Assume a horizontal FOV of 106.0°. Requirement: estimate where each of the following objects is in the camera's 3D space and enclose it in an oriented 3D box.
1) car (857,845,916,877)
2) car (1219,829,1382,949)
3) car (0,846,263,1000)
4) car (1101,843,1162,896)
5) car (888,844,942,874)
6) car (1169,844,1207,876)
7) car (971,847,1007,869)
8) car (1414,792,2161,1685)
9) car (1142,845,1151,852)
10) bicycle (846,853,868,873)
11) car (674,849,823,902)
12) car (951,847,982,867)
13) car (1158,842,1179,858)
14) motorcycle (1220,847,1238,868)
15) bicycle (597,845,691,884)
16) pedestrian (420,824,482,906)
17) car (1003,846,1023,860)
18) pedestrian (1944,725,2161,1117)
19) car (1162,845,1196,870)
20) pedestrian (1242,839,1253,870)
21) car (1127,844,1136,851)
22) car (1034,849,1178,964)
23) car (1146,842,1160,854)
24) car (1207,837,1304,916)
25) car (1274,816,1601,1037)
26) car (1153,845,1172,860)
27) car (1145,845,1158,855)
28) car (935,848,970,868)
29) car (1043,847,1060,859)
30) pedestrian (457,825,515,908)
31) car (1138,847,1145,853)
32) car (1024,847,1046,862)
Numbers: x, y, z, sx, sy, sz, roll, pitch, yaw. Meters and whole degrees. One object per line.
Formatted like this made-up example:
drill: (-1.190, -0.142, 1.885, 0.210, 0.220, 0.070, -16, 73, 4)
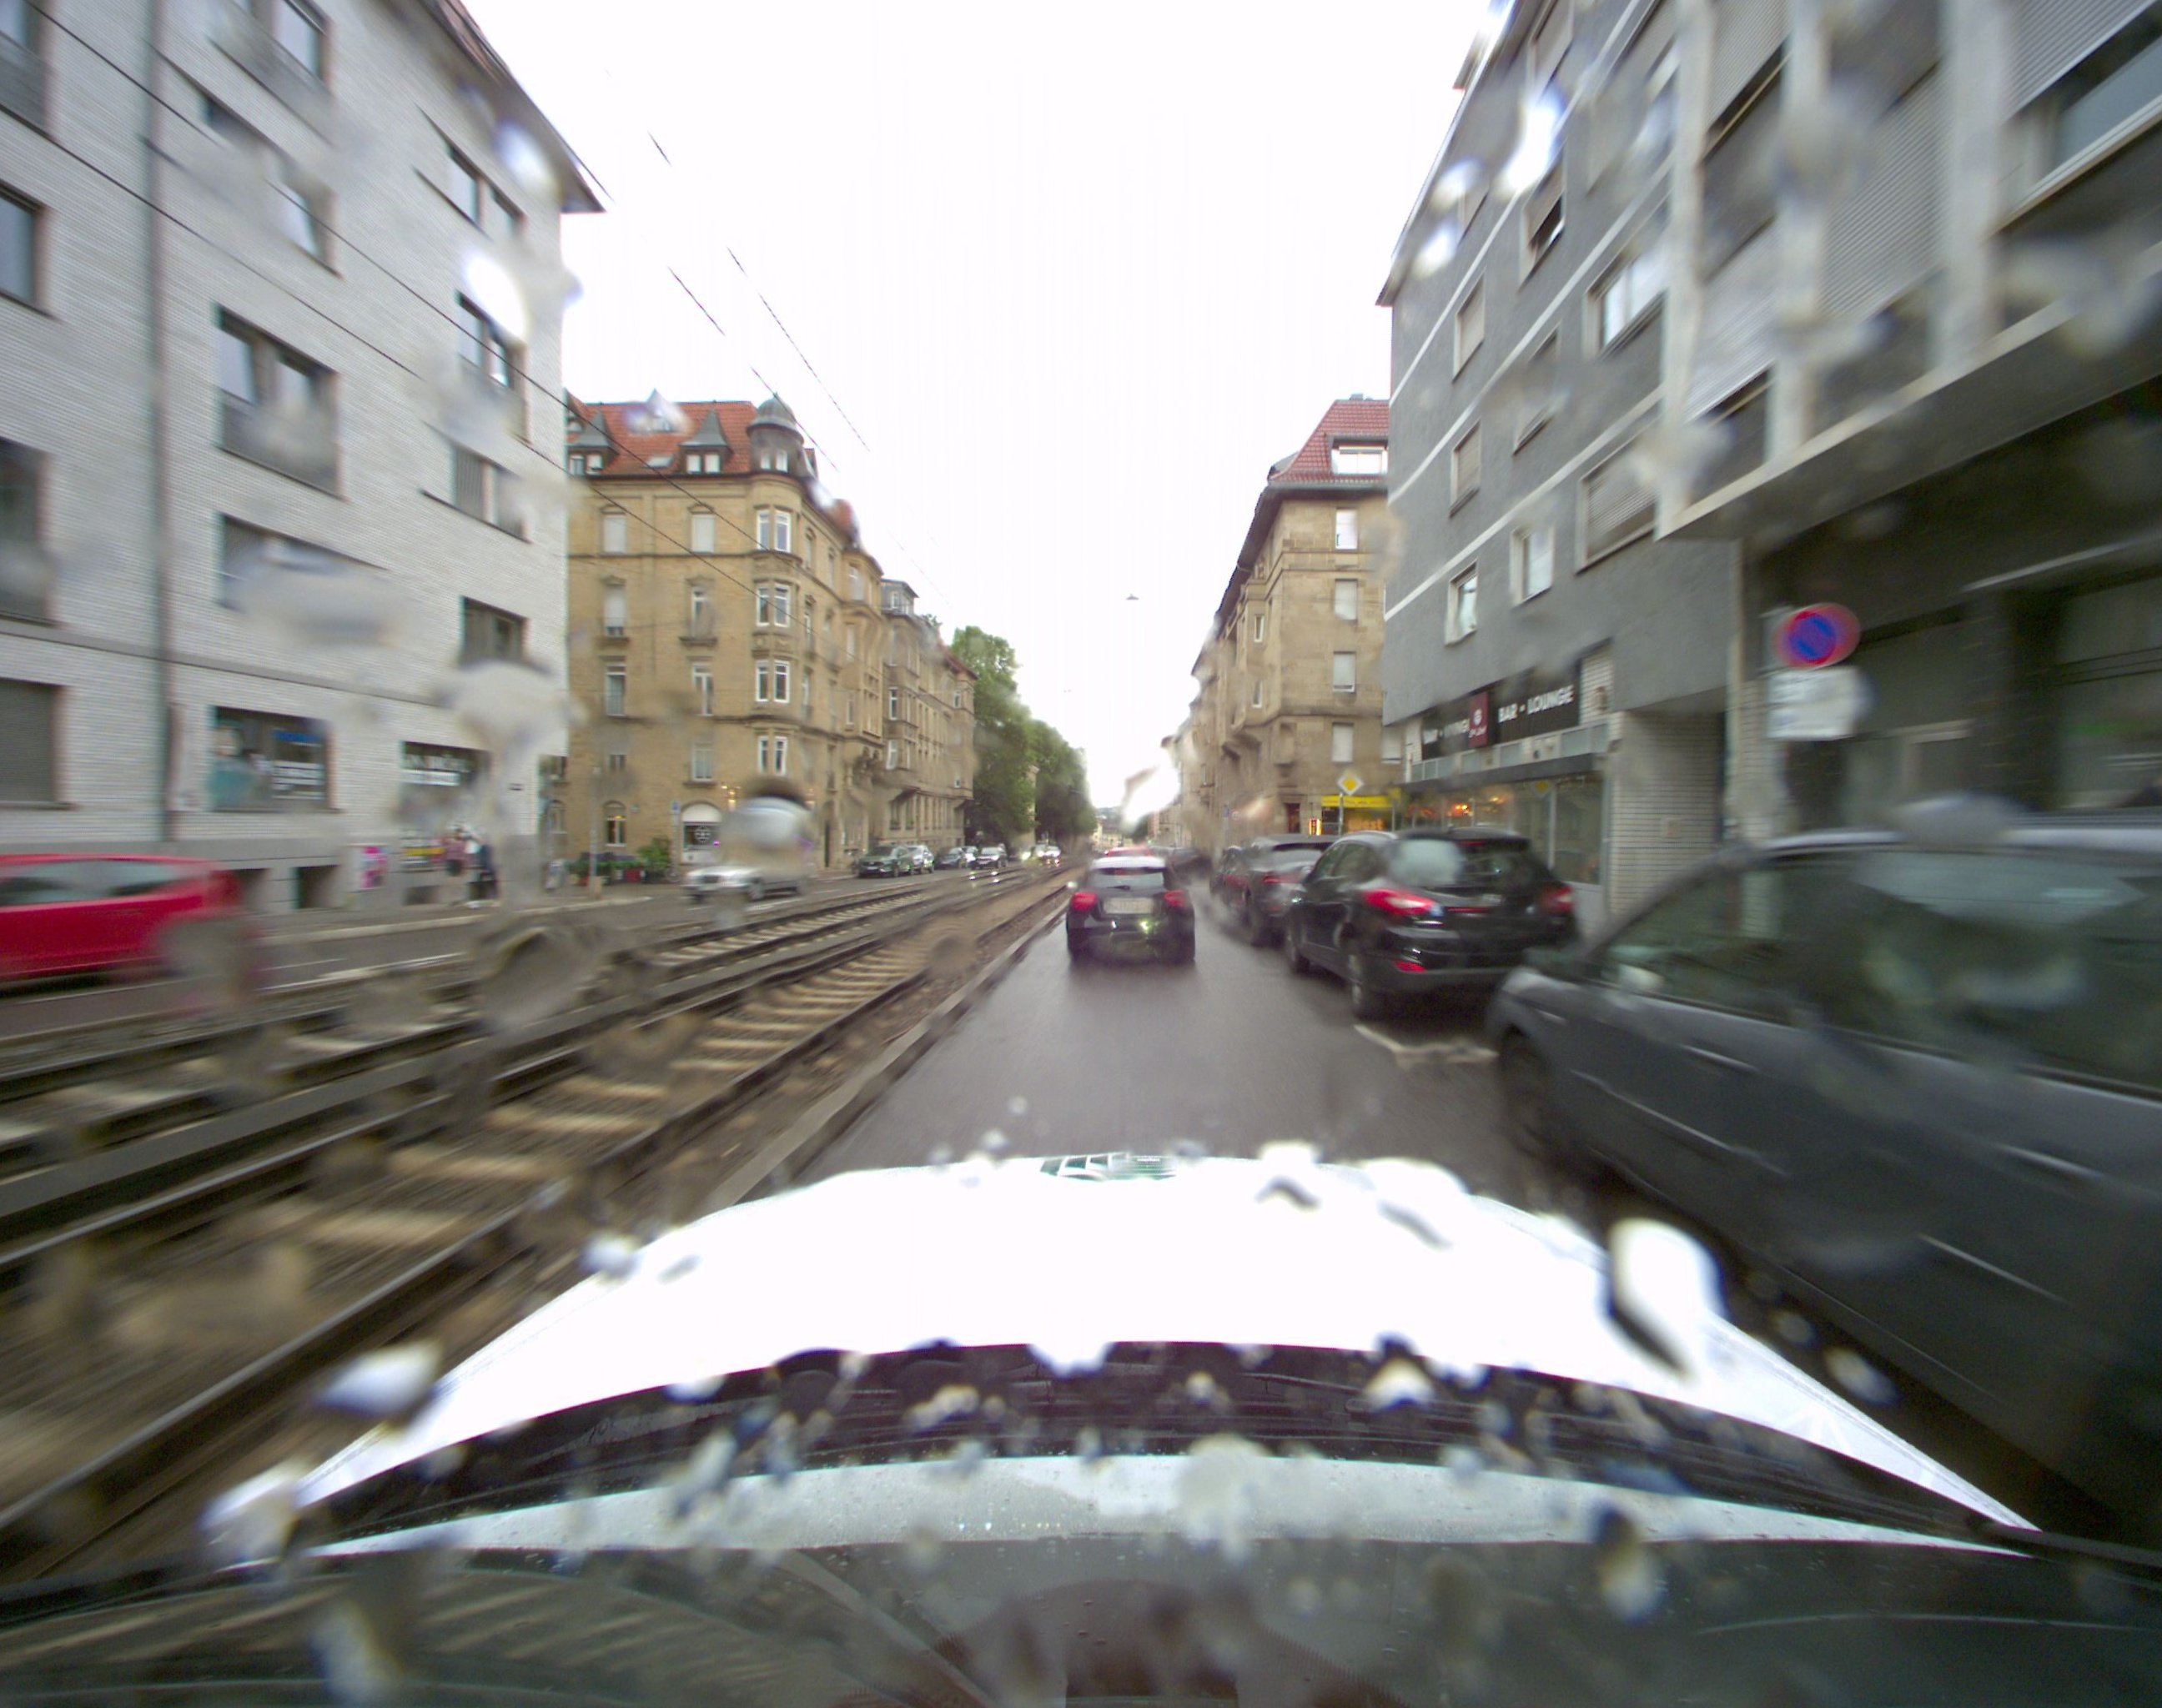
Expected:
car: (-9.784, 0.308, 41.307, 1.714, 1.541, 3.939, -1, 1, 5)
car: (3.489, 0.468, 13.809, 1.743, 1.670, 4.708, -1, 1, 3)
car: (-11.311, 0.679, 8.568, 1.672, 1.497, 3.524, -1, 1, 5)
car: (1.501, 0.404, 24.441, 1.642, 1.452, 4.004, 0, 1, 3)
car: (-9.462, 0.238, 46.717, 1.798, 1.597, 4.532, -1, 1, 5)
car: (5.286, 0.272, 40.646, 1.615, 1.484, 4.004, -1, 1, 3)
car: (-6.043, 0.226, 53.720, 1.687, 1.388, 3.486, -1, 1, 5)
car: (2.838, 0.647, 2.729, 1.758, 1.559, 4.750, -1, 0, 3)
car: (12.358, -1.020, 154.084, 1.606, 1.317, 4.004, 0, 0, 3)
bicycle: (-11.660, 0.476, 42.502, 0.596, 1.000, 2.079, -1, 0, -1)
car: (-9.488, 0.554, 23.736, 1.796, 1.360, 4.774, -1, 1, 8)
car: (-8.640, 0.213, 61.601, 1.561, 1.413, 3.486, -1, 1, 5)
car: (7.229, -0.347, 67.574, 1.606, 1.317, 4.004, -1, 1, 3)
motorcycle: (9.570, 0.224, 52.856, 0.876, 1.315, 2.398, 0, 0, 3)
bicycle: (-18.803, 0.446, 35.150, 3.142, 1.584, 1.594, -1, 0, -6)
pedestrian: (-14.175, 0.247, 18.337, 0.638, 1.787, 0.924, -1, -1, 3)
car: (-7.141, -0.079, 85.927, 1.561, 1.413, 3.486, -1, 1, 5)
pedestrian: (5.361, 0.293, 4.113, 0.941, 1.769, 1.015, 0, 1, 1)
car: (5.464, 0.175, 45.699, 1.606, 1.317, 4.004, -1, 1, 3)
pedestrian: (8.026, 0.030, 39.325, 0.452, 1.466, 0.611, 0, 0, 3)
car: (9.293, -1.241, 149.423, 1.606, 1.317, 4.004, -1, 1, 3)
car: (0.502, 0.672, 12.572, 1.857, 1.452, 4.006, -1, 1, 5)
car: (8.538, -0.742, 96.914, 1.606, 1.317, 4.004, -1, 1, 3)
car: (3.898, 0.435, 18.776, 1.606, 1.605, 4.004, -1, 1, 3)
car: (3.214, 0.538, 8.298, 1.676, 1.670, 4.125, -1, 1, 2)
car: (7.587, -0.162, 76.106, 1.606, 1.317, 4.004, -1, 1, 3)
car: (9.375, -0.547, 107.994, 1.606, 1.317, 4.004, -1, 1, 3)
car: (-8.864, 0.263, 56.346, 1.561, 1.316, 3.486, -1, 1, 5)
car: (-3.511, -0.131, 96.177, 1.561, 1.413, 3.486, -1, 1, 5)
pedestrian: (-13.370, 0.281, 18.322, 0.626, 1.787, 0.882, -1, -1, 3)
car: (13.166, -0.881, 177.270, 1.606, 1.317, 4.004, -1, 1, 3)
car: (-4.460, 0.007, 79.164, 1.561, 1.413, 3.486, -1, 1, 5)
